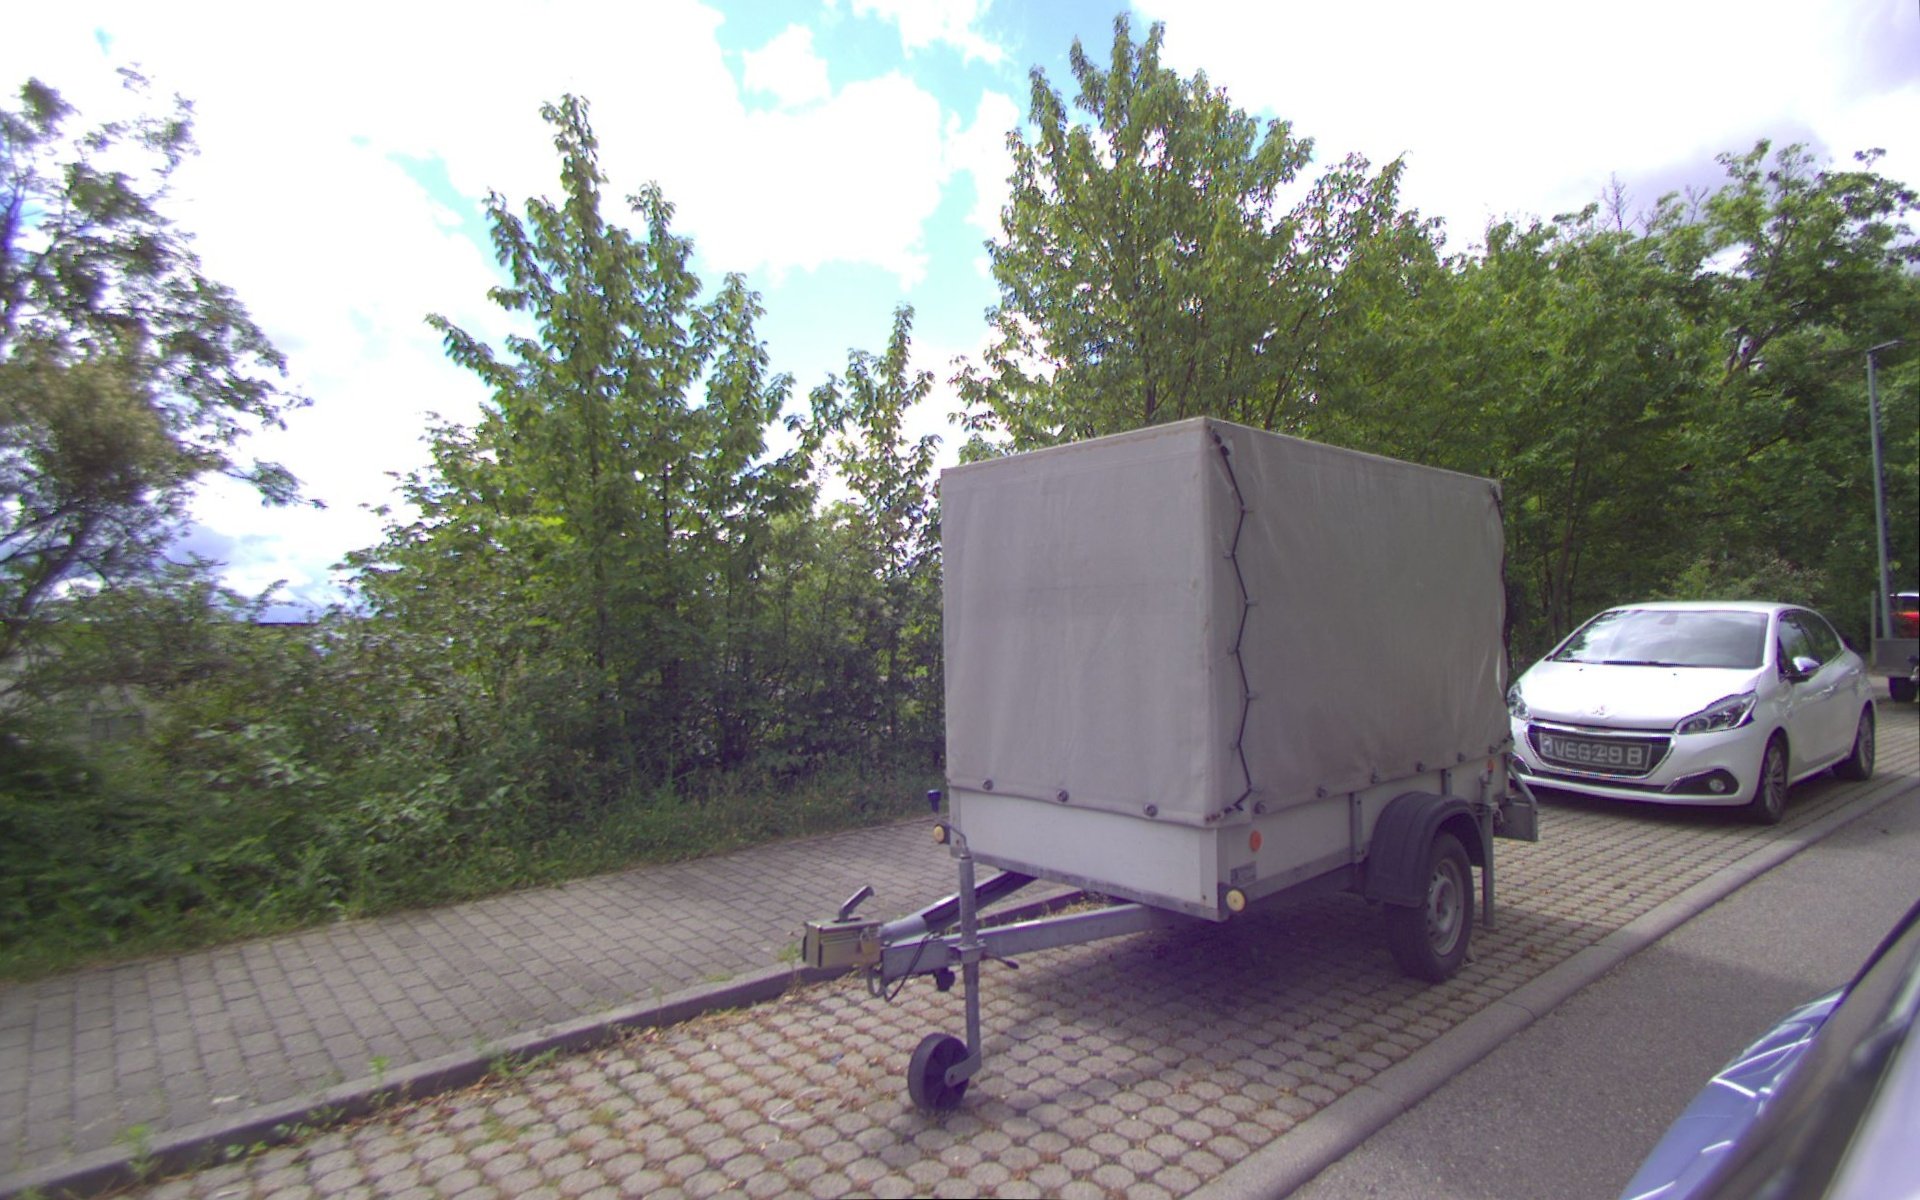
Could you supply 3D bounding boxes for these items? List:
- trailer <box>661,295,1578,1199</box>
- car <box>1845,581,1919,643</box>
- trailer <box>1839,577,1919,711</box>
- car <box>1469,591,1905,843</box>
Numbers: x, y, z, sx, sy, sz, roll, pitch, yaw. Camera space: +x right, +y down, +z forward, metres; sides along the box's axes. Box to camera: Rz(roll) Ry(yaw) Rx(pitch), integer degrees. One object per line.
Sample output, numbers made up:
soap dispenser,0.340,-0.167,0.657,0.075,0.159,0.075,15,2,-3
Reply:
trailer,0.911,0.358,4.140,3.718,2.104,1.732,-1,0,-41
car,24.916,0.284,25.575,1.618,1.537,3.494,-3,-1,-13
trailer,13.397,0.494,13.138,4.402,1.599,1.816,-1,0,-33
car,5.751,0.697,7.880,3.713,1.496,1.711,-1,0,-37
